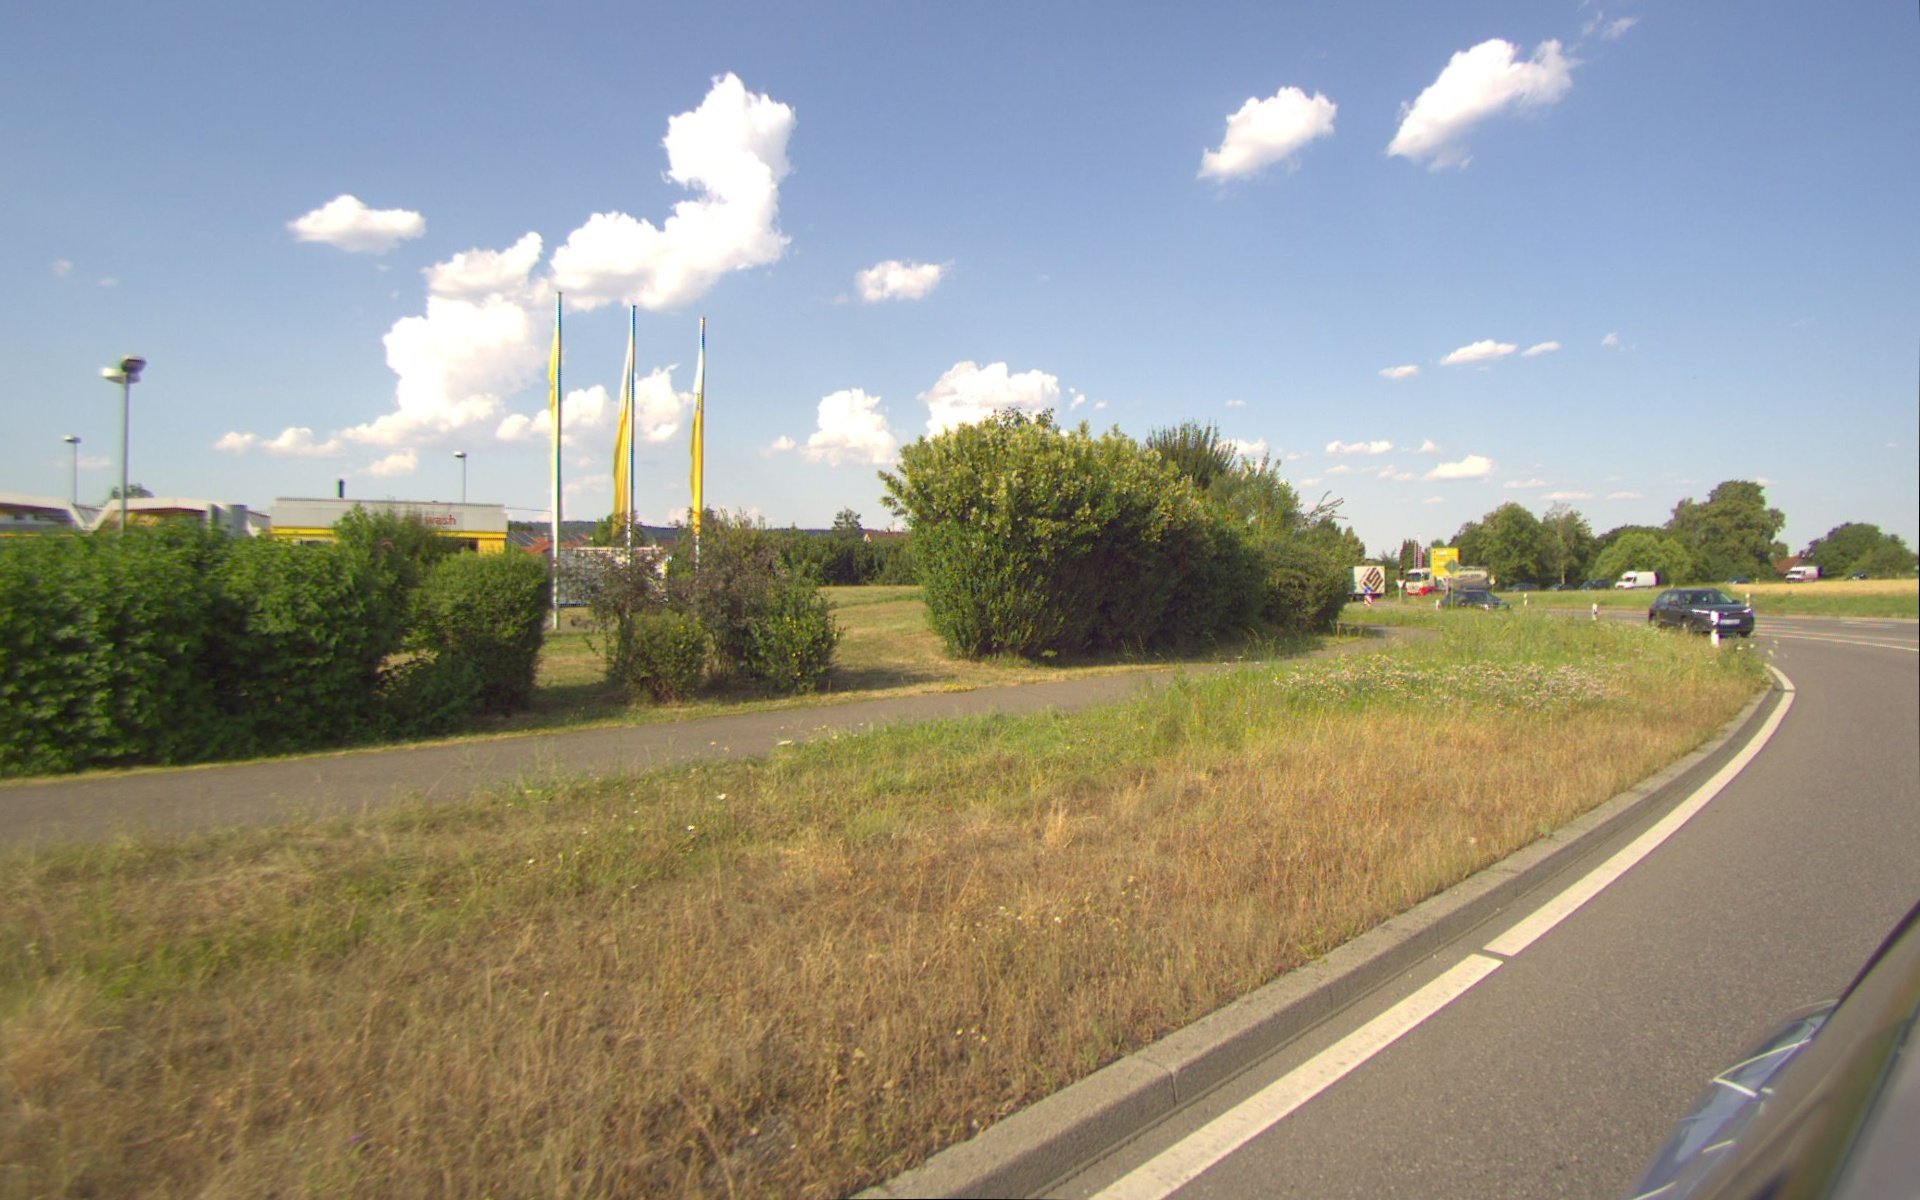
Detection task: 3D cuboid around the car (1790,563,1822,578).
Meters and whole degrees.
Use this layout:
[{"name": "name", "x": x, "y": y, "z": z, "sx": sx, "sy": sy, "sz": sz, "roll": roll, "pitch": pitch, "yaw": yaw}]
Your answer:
[{"name": "car", "x": 131.166, "y": -4.596, "z": 156.959, "sx": 3.917, "sy": 2.041, "sz": 2.002, "roll": -1, "pitch": -7, "yaw": -22}]

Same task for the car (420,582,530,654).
[{"name": "car", "x": -15.512, "y": 0.572, "z": 32.299, "sx": 3.675, "sy": 2.141, "sz": 1.892, "roll": -2, "pitch": 0, "yaw": 42}]

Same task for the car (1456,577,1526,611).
[{"name": "car", "x": 27.487, "y": -0.324, "z": 52.572, "sx": 1.746, "sy": 1.633, "sz": 4.537, "roll": -2, "pitch": 0, "yaw": 8}]

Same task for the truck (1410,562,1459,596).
[{"name": "truck", "x": 56.505, "y": -2.515, "z": 120.447, "sx": 5.570, "sy": 3.853, "sz": 2.266, "roll": -2, "pitch": 0, "yaw": -27}]

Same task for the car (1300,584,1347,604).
[{"name": "car", "x": 31.372, "y": -0.500, "z": 87.403, "sx": 1.783, "sy": 1.548, "sz": 4.359, "roll": -2, "pitch": -2, "yaw": -10}]

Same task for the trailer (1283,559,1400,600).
[{"name": "trailer", "x": 41.116, "y": -2.270, "z": 108.952, "sx": 13.469, "sy": 4.055, "sz": 3.424, "roll": -2, "pitch": 0, "yaw": -27}]

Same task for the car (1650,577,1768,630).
[{"name": "car", "x": 25.324, "y": 0.088, "z": 34.411, "sx": 1.765, "sy": 1.650, "sz": 4.444, "roll": -2, "pitch": 0, "yaw": 17}]

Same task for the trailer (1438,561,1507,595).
[{"name": "trailer", "x": 62.529, "y": -2.698, "z": 123.455, "sx": 9.331, "sy": 3.826, "sz": 2.268, "roll": -2, "pitch": -1, "yaw": -27}]

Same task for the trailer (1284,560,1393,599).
[{"name": "trailer", "x": 42.738, "y": -2.305, "z": 113.963, "sx": 14.042, "sy": 4.119, "sz": 2.544, "roll": -1, "pitch": -1, "yaw": -26}]

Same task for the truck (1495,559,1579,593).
[{"name": "truck", "x": 74.018, "y": -3.083, "z": 129.707, "sx": 12.635, "sy": 3.822, "sz": 2.533, "roll": -2, "pitch": -2, "yaw": -26}]

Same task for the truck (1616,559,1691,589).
[{"name": "truck", "x": 96.244, "y": -3.612, "z": 140.298, "sx": 12.635, "sy": 3.821, "sz": 2.534, "roll": -2, "pitch": 0, "yaw": -26}]
